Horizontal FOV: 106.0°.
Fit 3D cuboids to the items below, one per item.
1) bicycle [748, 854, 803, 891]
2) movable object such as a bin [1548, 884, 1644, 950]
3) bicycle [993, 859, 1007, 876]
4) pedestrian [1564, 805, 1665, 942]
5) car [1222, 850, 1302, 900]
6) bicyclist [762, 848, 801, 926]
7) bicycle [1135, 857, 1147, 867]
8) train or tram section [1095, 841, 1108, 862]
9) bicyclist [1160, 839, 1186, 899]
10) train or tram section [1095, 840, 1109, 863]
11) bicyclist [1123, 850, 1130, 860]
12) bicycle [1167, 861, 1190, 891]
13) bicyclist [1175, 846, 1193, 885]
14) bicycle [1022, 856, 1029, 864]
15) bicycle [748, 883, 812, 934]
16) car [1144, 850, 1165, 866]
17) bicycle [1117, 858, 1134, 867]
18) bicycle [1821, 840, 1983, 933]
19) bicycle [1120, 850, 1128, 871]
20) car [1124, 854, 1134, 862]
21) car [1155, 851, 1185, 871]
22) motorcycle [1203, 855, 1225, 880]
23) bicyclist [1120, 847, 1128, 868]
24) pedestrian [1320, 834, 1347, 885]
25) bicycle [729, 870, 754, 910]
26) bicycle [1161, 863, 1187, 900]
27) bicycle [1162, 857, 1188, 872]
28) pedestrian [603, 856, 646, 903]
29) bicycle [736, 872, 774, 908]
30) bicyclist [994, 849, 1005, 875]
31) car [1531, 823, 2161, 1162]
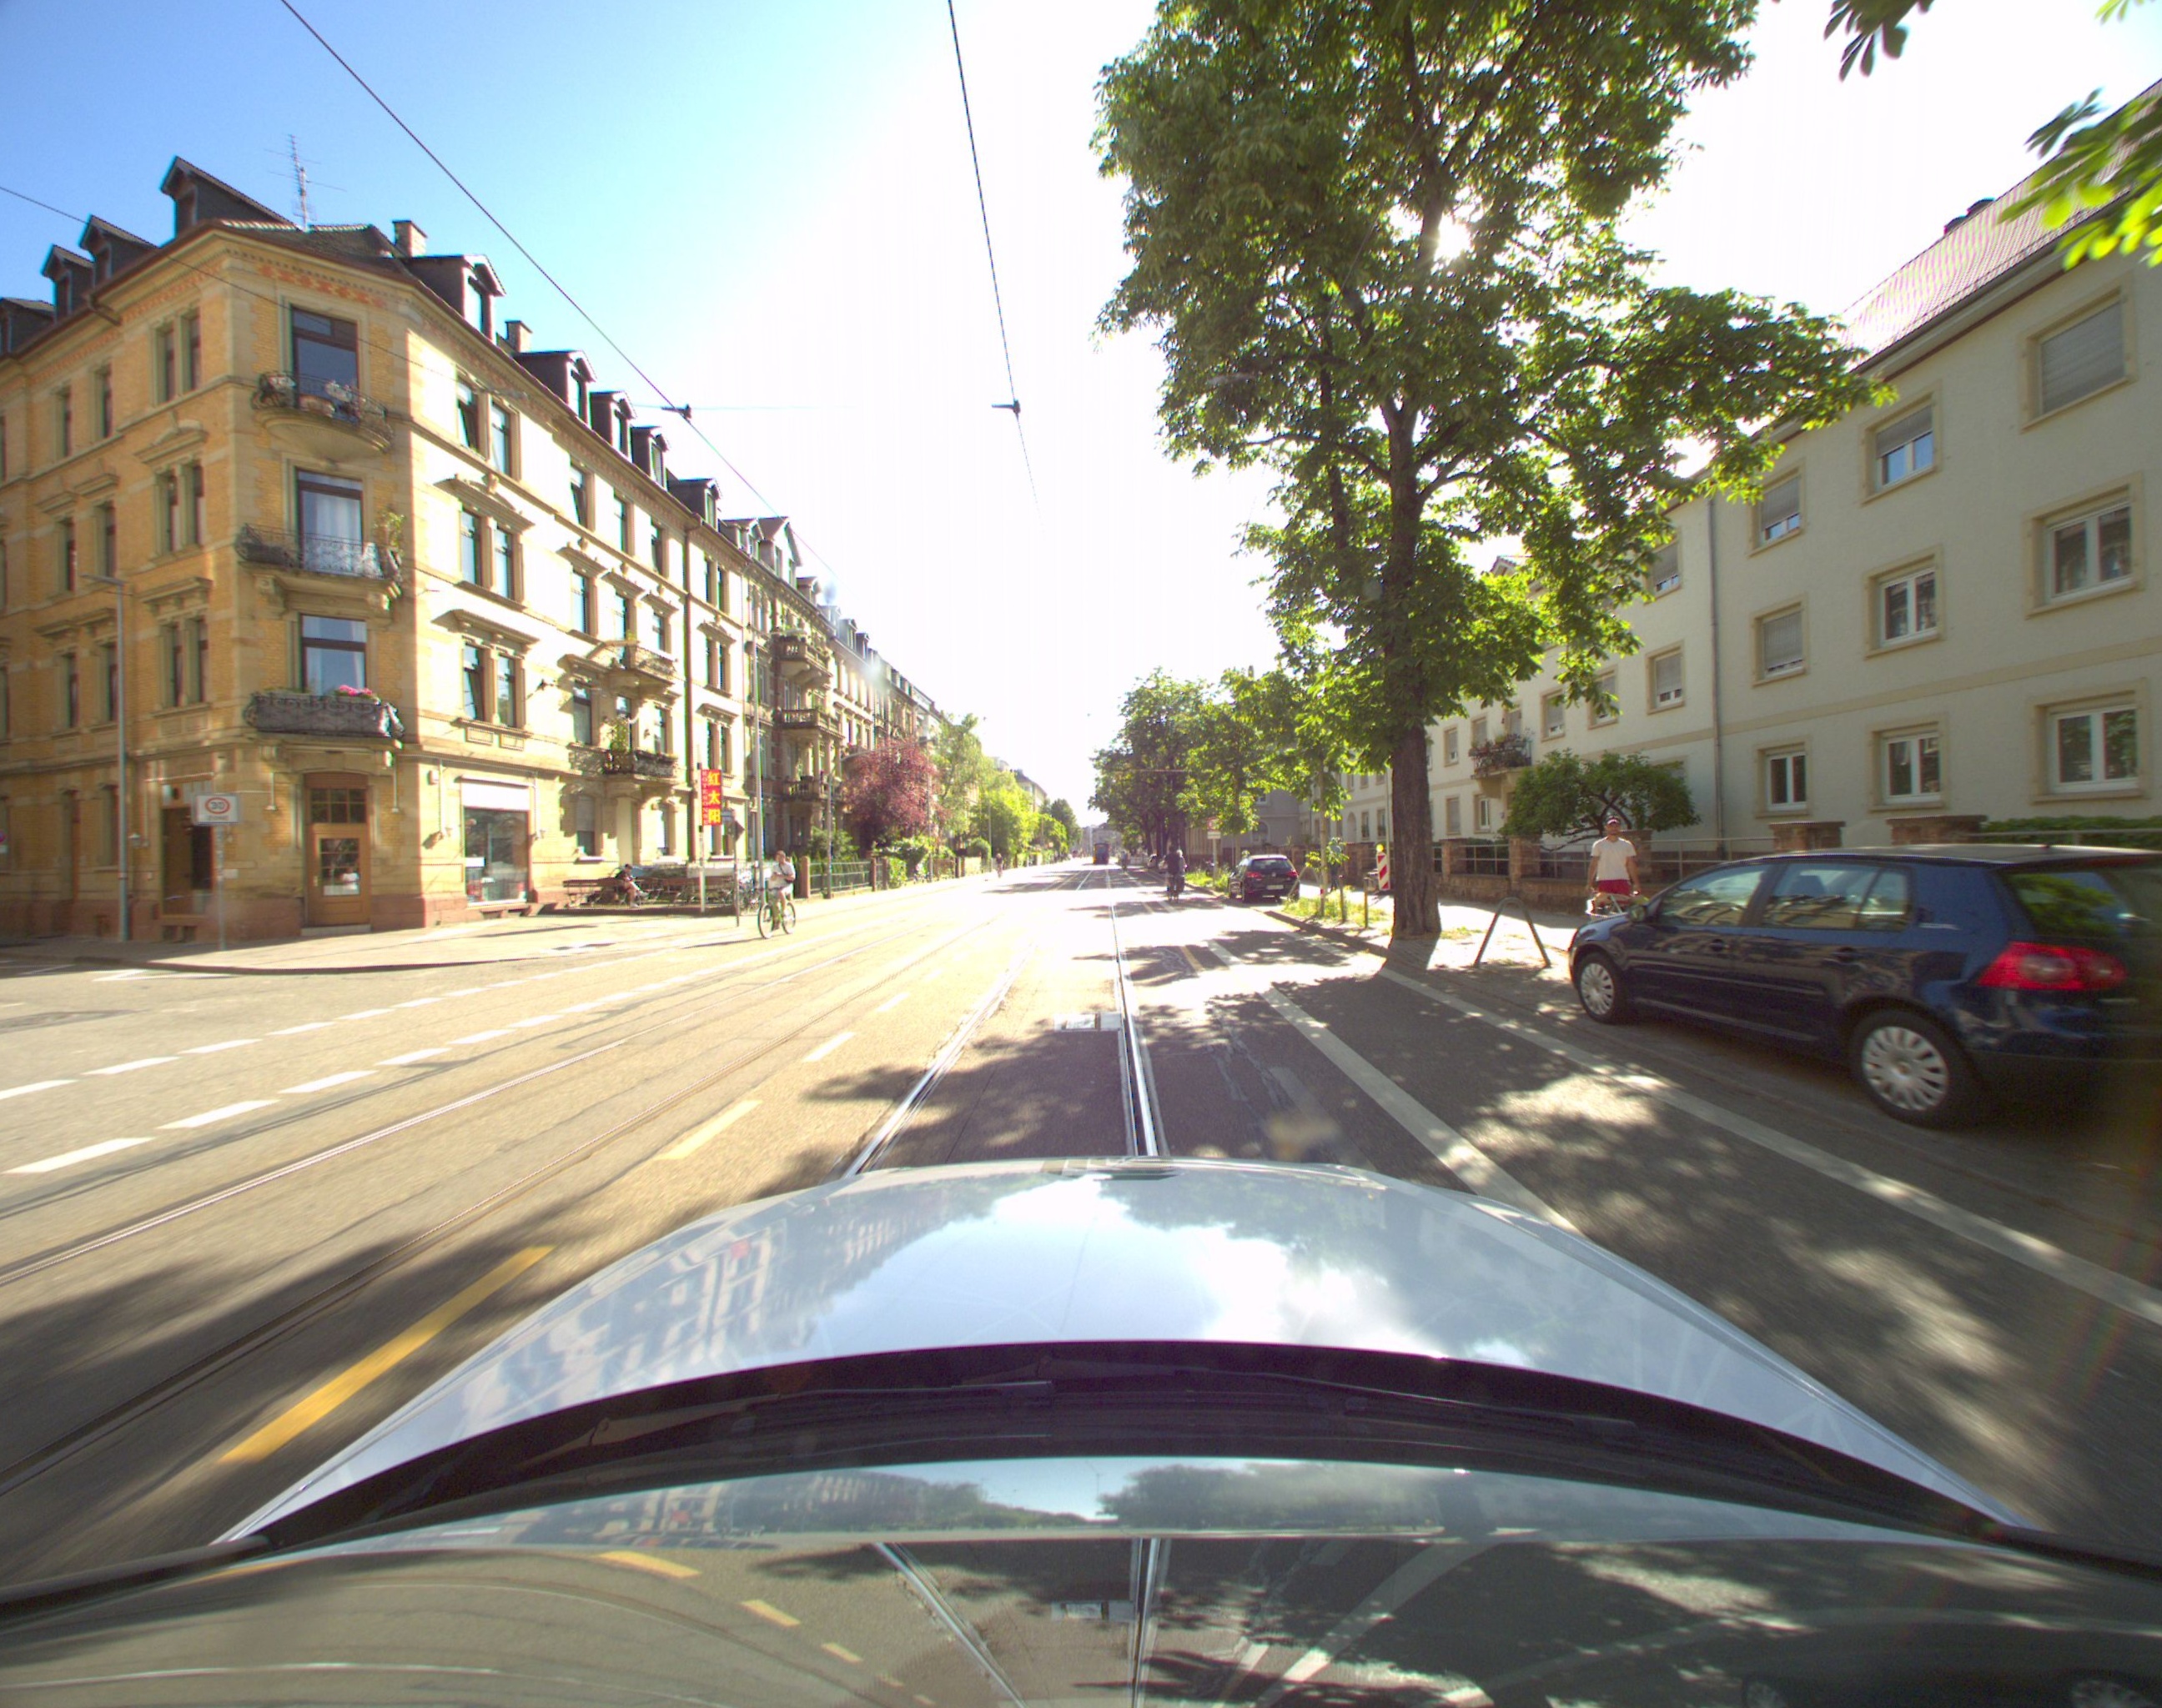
[{"bbox_3d":[-11.088,0.668,29.563,1.761,1.320,0.612,1,0,-8],"label":"bicycle"},{"bbox_3d":[6.700,0.805,10.602,0.926,0.743,0.661,-4,0,-30],"label":"movable object such as a bin"},{"bbox_3d":[-5.771,0.958,58.170,0.689,1.112,1.719,-2,0,2],"label":"bicycle"},{"bbox_3d":[7.298,0.255,11.162,0.602,1.771,0.904,-3,0,-29],"label":"pedestrian"},{"bbox_3d":[5.774,0.642,26.445,1.780,1.464,4.045,-1,0,1],"label":"car"},{"bbox_3d":[-6.425,0.701,17.471,0.462,1.618,0.744,-3,0,1],"label":"bicyclist"},{"bbox_3d":[6.304,0.843,85.613,1.262,1.024,0.706,1,-2,9],"label":"bicycle"},{"bbox_3d":[3.433,-0.395,136.172,2.146,3.432,6.613,1,0,1],"label":"train or tram section"},{"bbox_3d":[2.911,0.474,25.830,0.725,1.848,0.837,1,0,1],"label":"bicyclist"},{"bbox_3d":[3.267,-0.402,129.533,2.146,3.432,6.613,1,0,1],"label":"train or tram section"},{"bbox_3d":[6.006,0.102,108.202,0.766,1.291,0.736,1,0,17],"label":"bicyclist"},{"bbox_3d":[3.725,0.831,31.285,0.689,1.112,1.918,1,0,2],"label":"bicycle"},{"bbox_3d":[3.985,0.432,31.436,0.633,1.468,0.616,1,0,1],"label":"bicyclist"},{"bbox_3d":[-7.553,0.862,111.141,0.634,1.069,1.822,1,0,-15],"label":"bicycle"},{"bbox_3d":[-6.405,1.127,17.431,0.458,0.926,2.203,-2,0,2],"label":"bicycle"},{"bbox_3d":[7.212,0.394,80.510,1.742,1.420,4.001,-2,0,1],"label":"car"},{"bbox_3d":[5.857,1.109,108.260,2.123,1.171,0.806,1,0,16],"label":"bicycle"},{"bbox_3d":[11.609,0.428,11.599,0.541,1.220,1.742,-2,0,1],"label":"bicycle"},{"bbox_3d":[3.777,0.564,71.304,0.660,1.859,2.261,1,0,3],"label":"bicycle"},{"bbox_3d":[9.659,0.766,163.448,1.748,1.552,3.678,0,0,1],"label":"car"},{"bbox_3d":[6.679,0.506,61.782,1.624,1.436,4.662,-2,0,-2],"label":"car"},{"bbox_3d":[6.631,0.671,40.698,0.494,1.190,1.858,-4,0,-6],"label":"motorcycle"},{"bbox_3d":[3.705,0.326,70.812,0.643,1.796,0.956,1,0,1],"label":"bicyclist"},{"bbox_3d":[8.648,0.193,27.937,0.755,1.724,0.583,0,0,30],"label":"pedestrian"},{"bbox_3d":[-10.037,1.056,24.070,0.369,1.126,0.809,1,0,2],"label":"bicycle"},{"bbox_3d":[2.951,0.848,26.005,0.689,1.112,1.719,1,0,2],"label":"bicycle"},{"bbox_3d":[6.821,0.771,59.045,1.786,1.019,0.620,-3,0,0],"label":"bicycle"},{"bbox_3d":[-13.653,0.758,24.354,0.897,1.352,0.577,-3,-1,2],"label":"pedestrian"},{"bbox_3d":[-9.808,1.066,24.540,0.334,1.001,1.870,1,0,2],"label":"bicycle"},{"bbox_3d":[-5.795,0.589,58.005,0.658,1.801,0.616,-3,-1,1],"label":"bicyclist"},{"bbox_3d":[5.210,0.592,5.734,1.714,1.473,4.246,-2,0,0],"label":"car"}]
